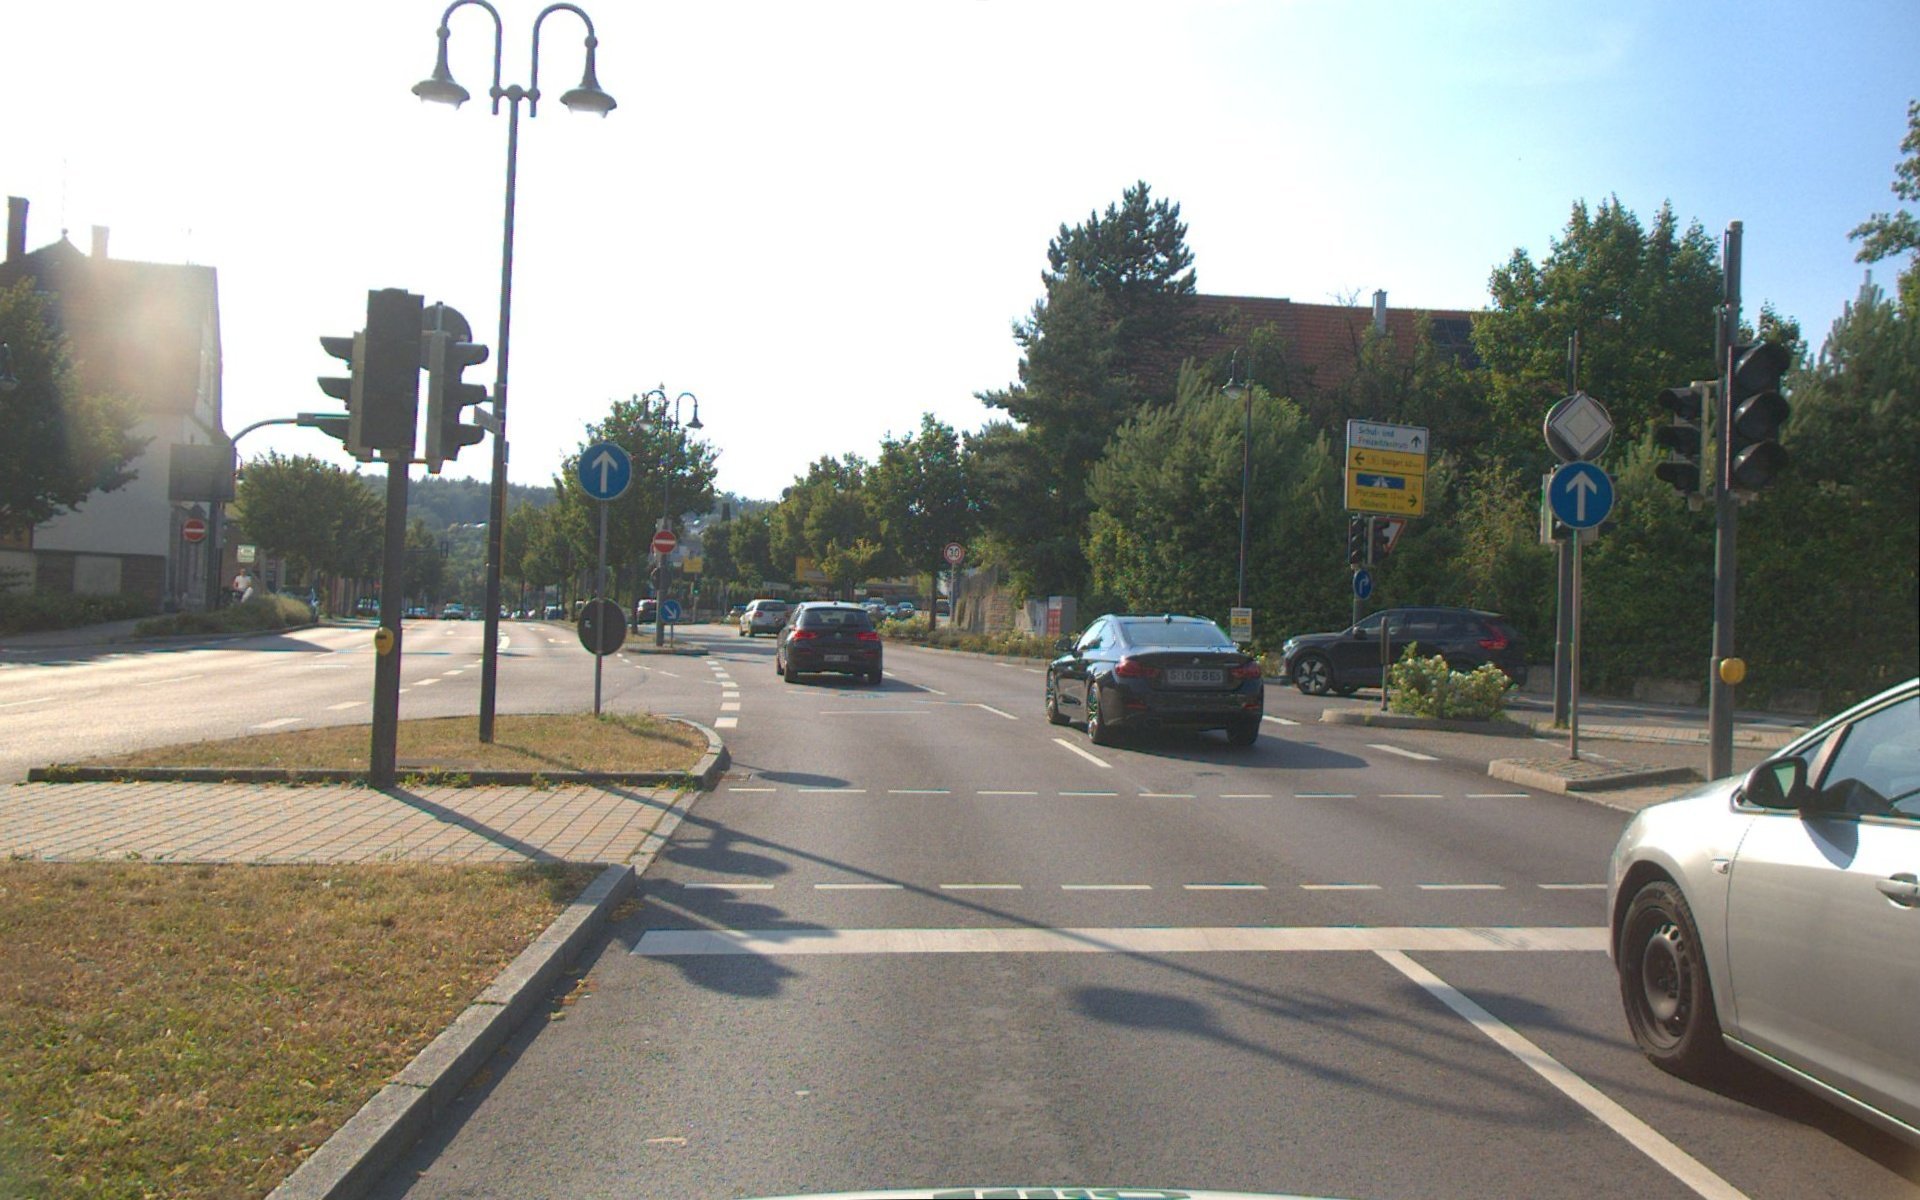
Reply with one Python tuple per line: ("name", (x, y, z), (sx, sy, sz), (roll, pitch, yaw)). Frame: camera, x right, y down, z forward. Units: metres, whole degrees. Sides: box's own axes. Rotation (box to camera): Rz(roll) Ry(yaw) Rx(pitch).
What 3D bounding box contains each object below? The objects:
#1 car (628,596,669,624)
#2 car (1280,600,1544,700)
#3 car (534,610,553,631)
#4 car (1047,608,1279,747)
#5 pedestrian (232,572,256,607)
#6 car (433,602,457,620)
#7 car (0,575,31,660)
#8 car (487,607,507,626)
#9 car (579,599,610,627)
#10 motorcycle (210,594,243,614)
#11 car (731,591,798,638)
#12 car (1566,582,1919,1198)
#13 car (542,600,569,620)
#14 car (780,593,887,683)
("car", (-21.090, 0.657, 111.936), (2.182, 1.800, 4.432), (1, 0, -17))
("car", (8.035, 0.844, 29.523), (4.184, 1.594, 1.786), (1, 0, 35))
("car", (-42.839, 2.059, 170.000), (1.742, 2.049, 3.987), (1, 0, -13))
("car", (2.194, 0.812, 19.027), (1.882, 1.388, 4.349), (1, -1, -3))
("pedestrian", (-29.188, -0.421, 67.458), (0.800, 1.418, 0.703), (1, 0, -18))
("car", (-42.988, 0.903, 138.189), (1.727, 1.385, 4.466), (1, 0, -15))
("car", (-18.872, 0.262, 28.295), (4.769, 1.462, 1.913), (1, -1, -10))
("car", (-42.873, 1.539, 153.274), (1.702, 1.708, 3.983), (1, 0, -16))
("car", (-24.807, 0.873, 112.215), (1.728, 1.800, 3.951), (1, 0, -17))
("motorcycle", (-40.664, 0.230, 91.736), (0.505, 1.088, 1.870), (1, -1, 19))
("car", (-7.860, 0.565, 66.253), (1.895, 1.800, 4.432), (1, 0, -17))
("car", (3.211, 0.726, 4.172), (1.686, 1.516, 4.305), (1, 0, -1))
("car", (-38.038, 0.930, 155.565), (2.182, 1.800, 4.432), (1, 0, -17))
("car", (-2.415, 0.664, 30.788), (1.689, 1.516, 4.345), (2, 0, -8))
